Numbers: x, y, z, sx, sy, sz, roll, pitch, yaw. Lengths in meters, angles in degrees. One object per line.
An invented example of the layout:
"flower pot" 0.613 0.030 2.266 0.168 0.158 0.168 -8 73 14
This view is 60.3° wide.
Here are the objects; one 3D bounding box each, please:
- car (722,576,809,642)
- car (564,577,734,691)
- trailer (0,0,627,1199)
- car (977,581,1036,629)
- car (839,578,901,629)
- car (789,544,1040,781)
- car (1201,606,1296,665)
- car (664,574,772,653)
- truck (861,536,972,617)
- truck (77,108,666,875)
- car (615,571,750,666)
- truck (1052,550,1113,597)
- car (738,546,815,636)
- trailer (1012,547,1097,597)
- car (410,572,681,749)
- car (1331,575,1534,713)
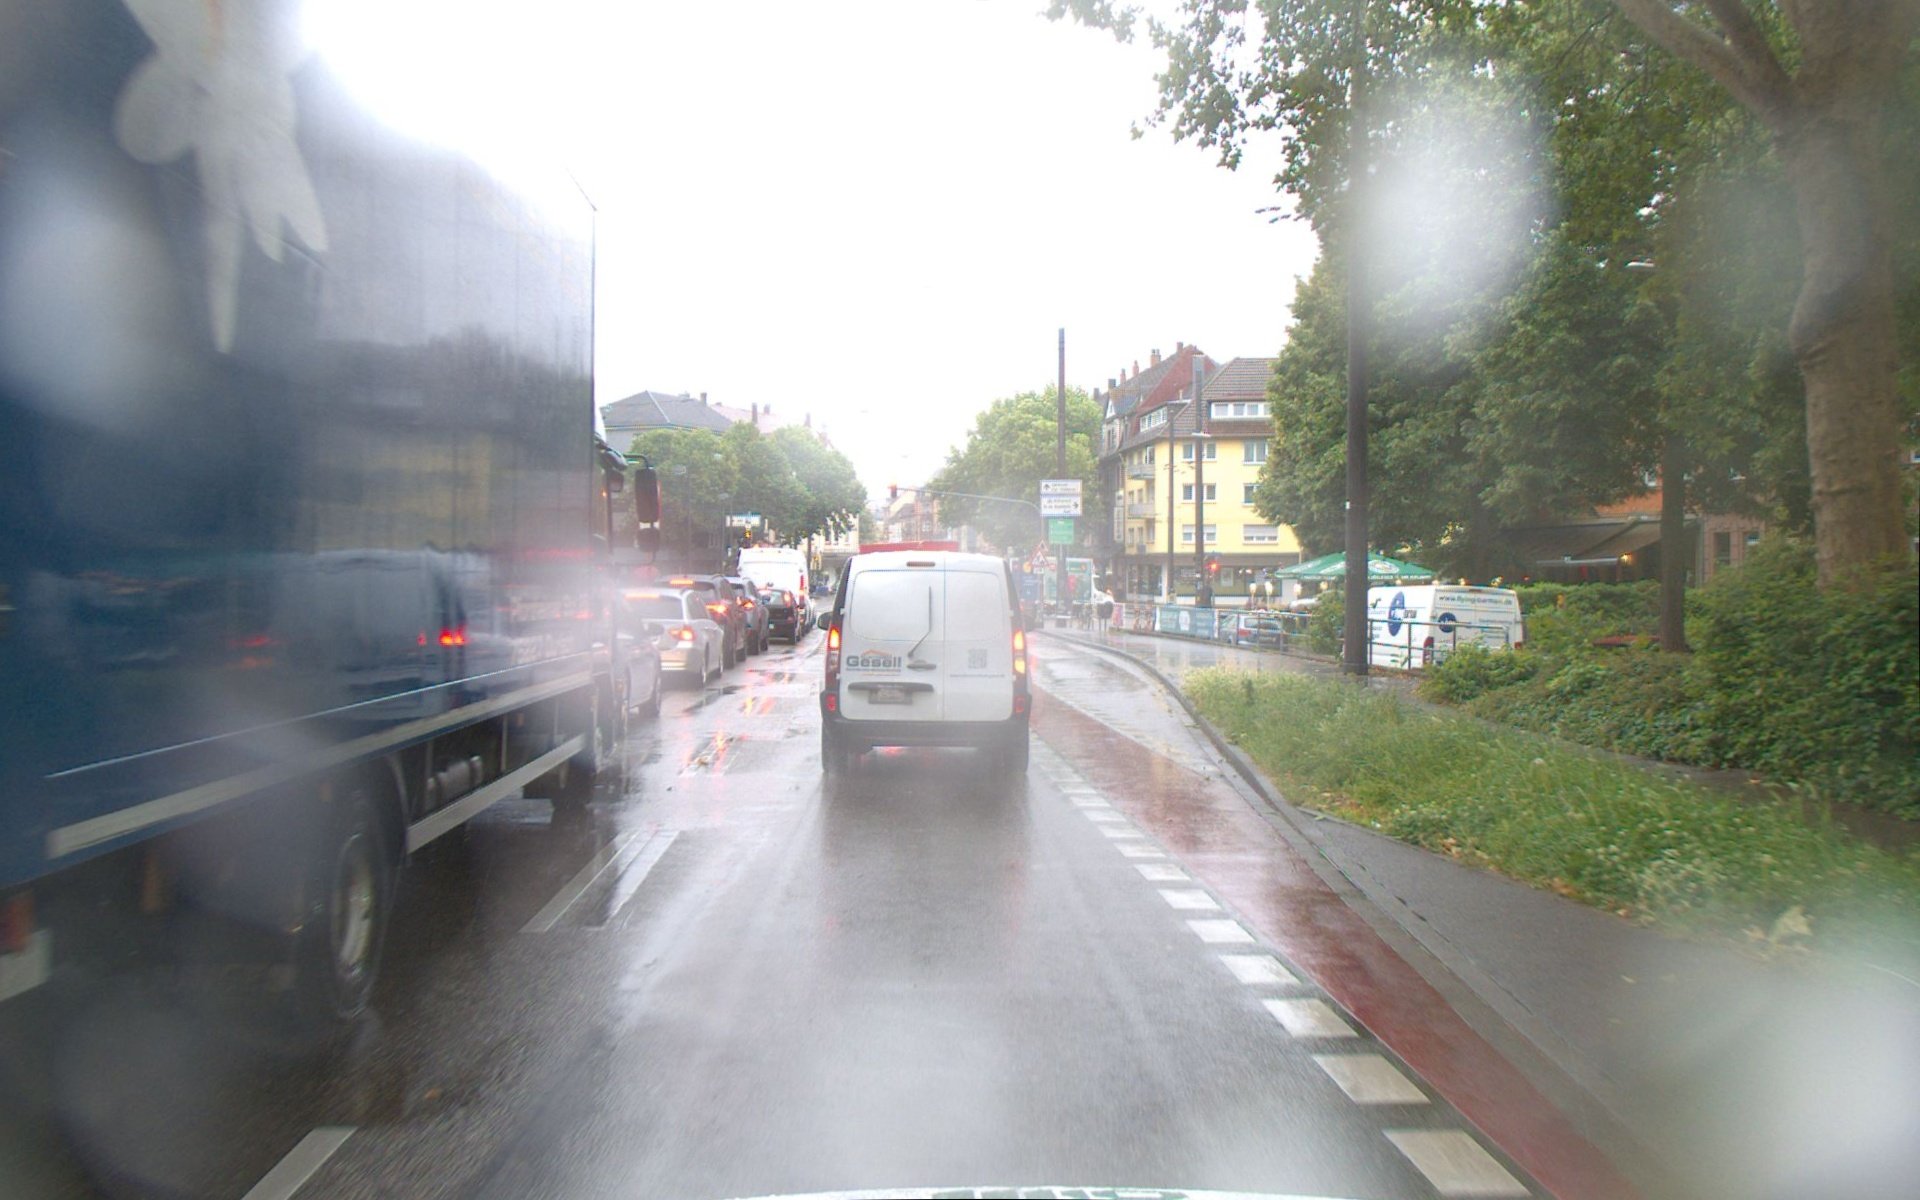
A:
"car" -5.079 0.218 43.647 1.954 1.606 4.289 2 0 -3
"car" -4.610 0.442 25.117 1.954 1.498 4.264 2 1 -3
"trailer" -3.142 -0.526 6.573 2.539 3.968 7.630 1 0 -4
"car" 1.593 0.150 56.783 1.952 1.569 4.001 0 0 1
"car" -2.732 0.105 50.841 1.724 1.494 3.533 1 0 0
"car" -0.433 0.501 14.536 1.920 1.808 3.567 1 -1 -3
"car" 8.536 1.014 49.320 1.786 1.516 4.350 -1 1 -4
"car" -5.326 0.284 36.896 1.954 1.606 4.289 2 0 -3
"truck" -3.032 -1.556 109.152 3.235 4.985 11.317 -2 1 -24
"truck" -3.422 -0.571 10.652 2.530 3.972 3.997 1 0 -4
"car" -5.087 0.317 30.882 1.954 1.606 4.289 2 0 -3
"truck" 6.232 -1.327 83.945 1.961 2.339 2.637 0 -1 37
"car" -5.398 -0.255 49.155 1.954 2.485 4.609 2 0 -3
"trailer" 4.706 -1.362 81.959 1.961 2.357 4.648 0 -1 37
"car" -4.179 0.520 17.361 1.954 1.564 4.131 -1 1 -3
"car" 9.817 0.807 34.971 2.137 2.576 5.771 -1 1 -5
